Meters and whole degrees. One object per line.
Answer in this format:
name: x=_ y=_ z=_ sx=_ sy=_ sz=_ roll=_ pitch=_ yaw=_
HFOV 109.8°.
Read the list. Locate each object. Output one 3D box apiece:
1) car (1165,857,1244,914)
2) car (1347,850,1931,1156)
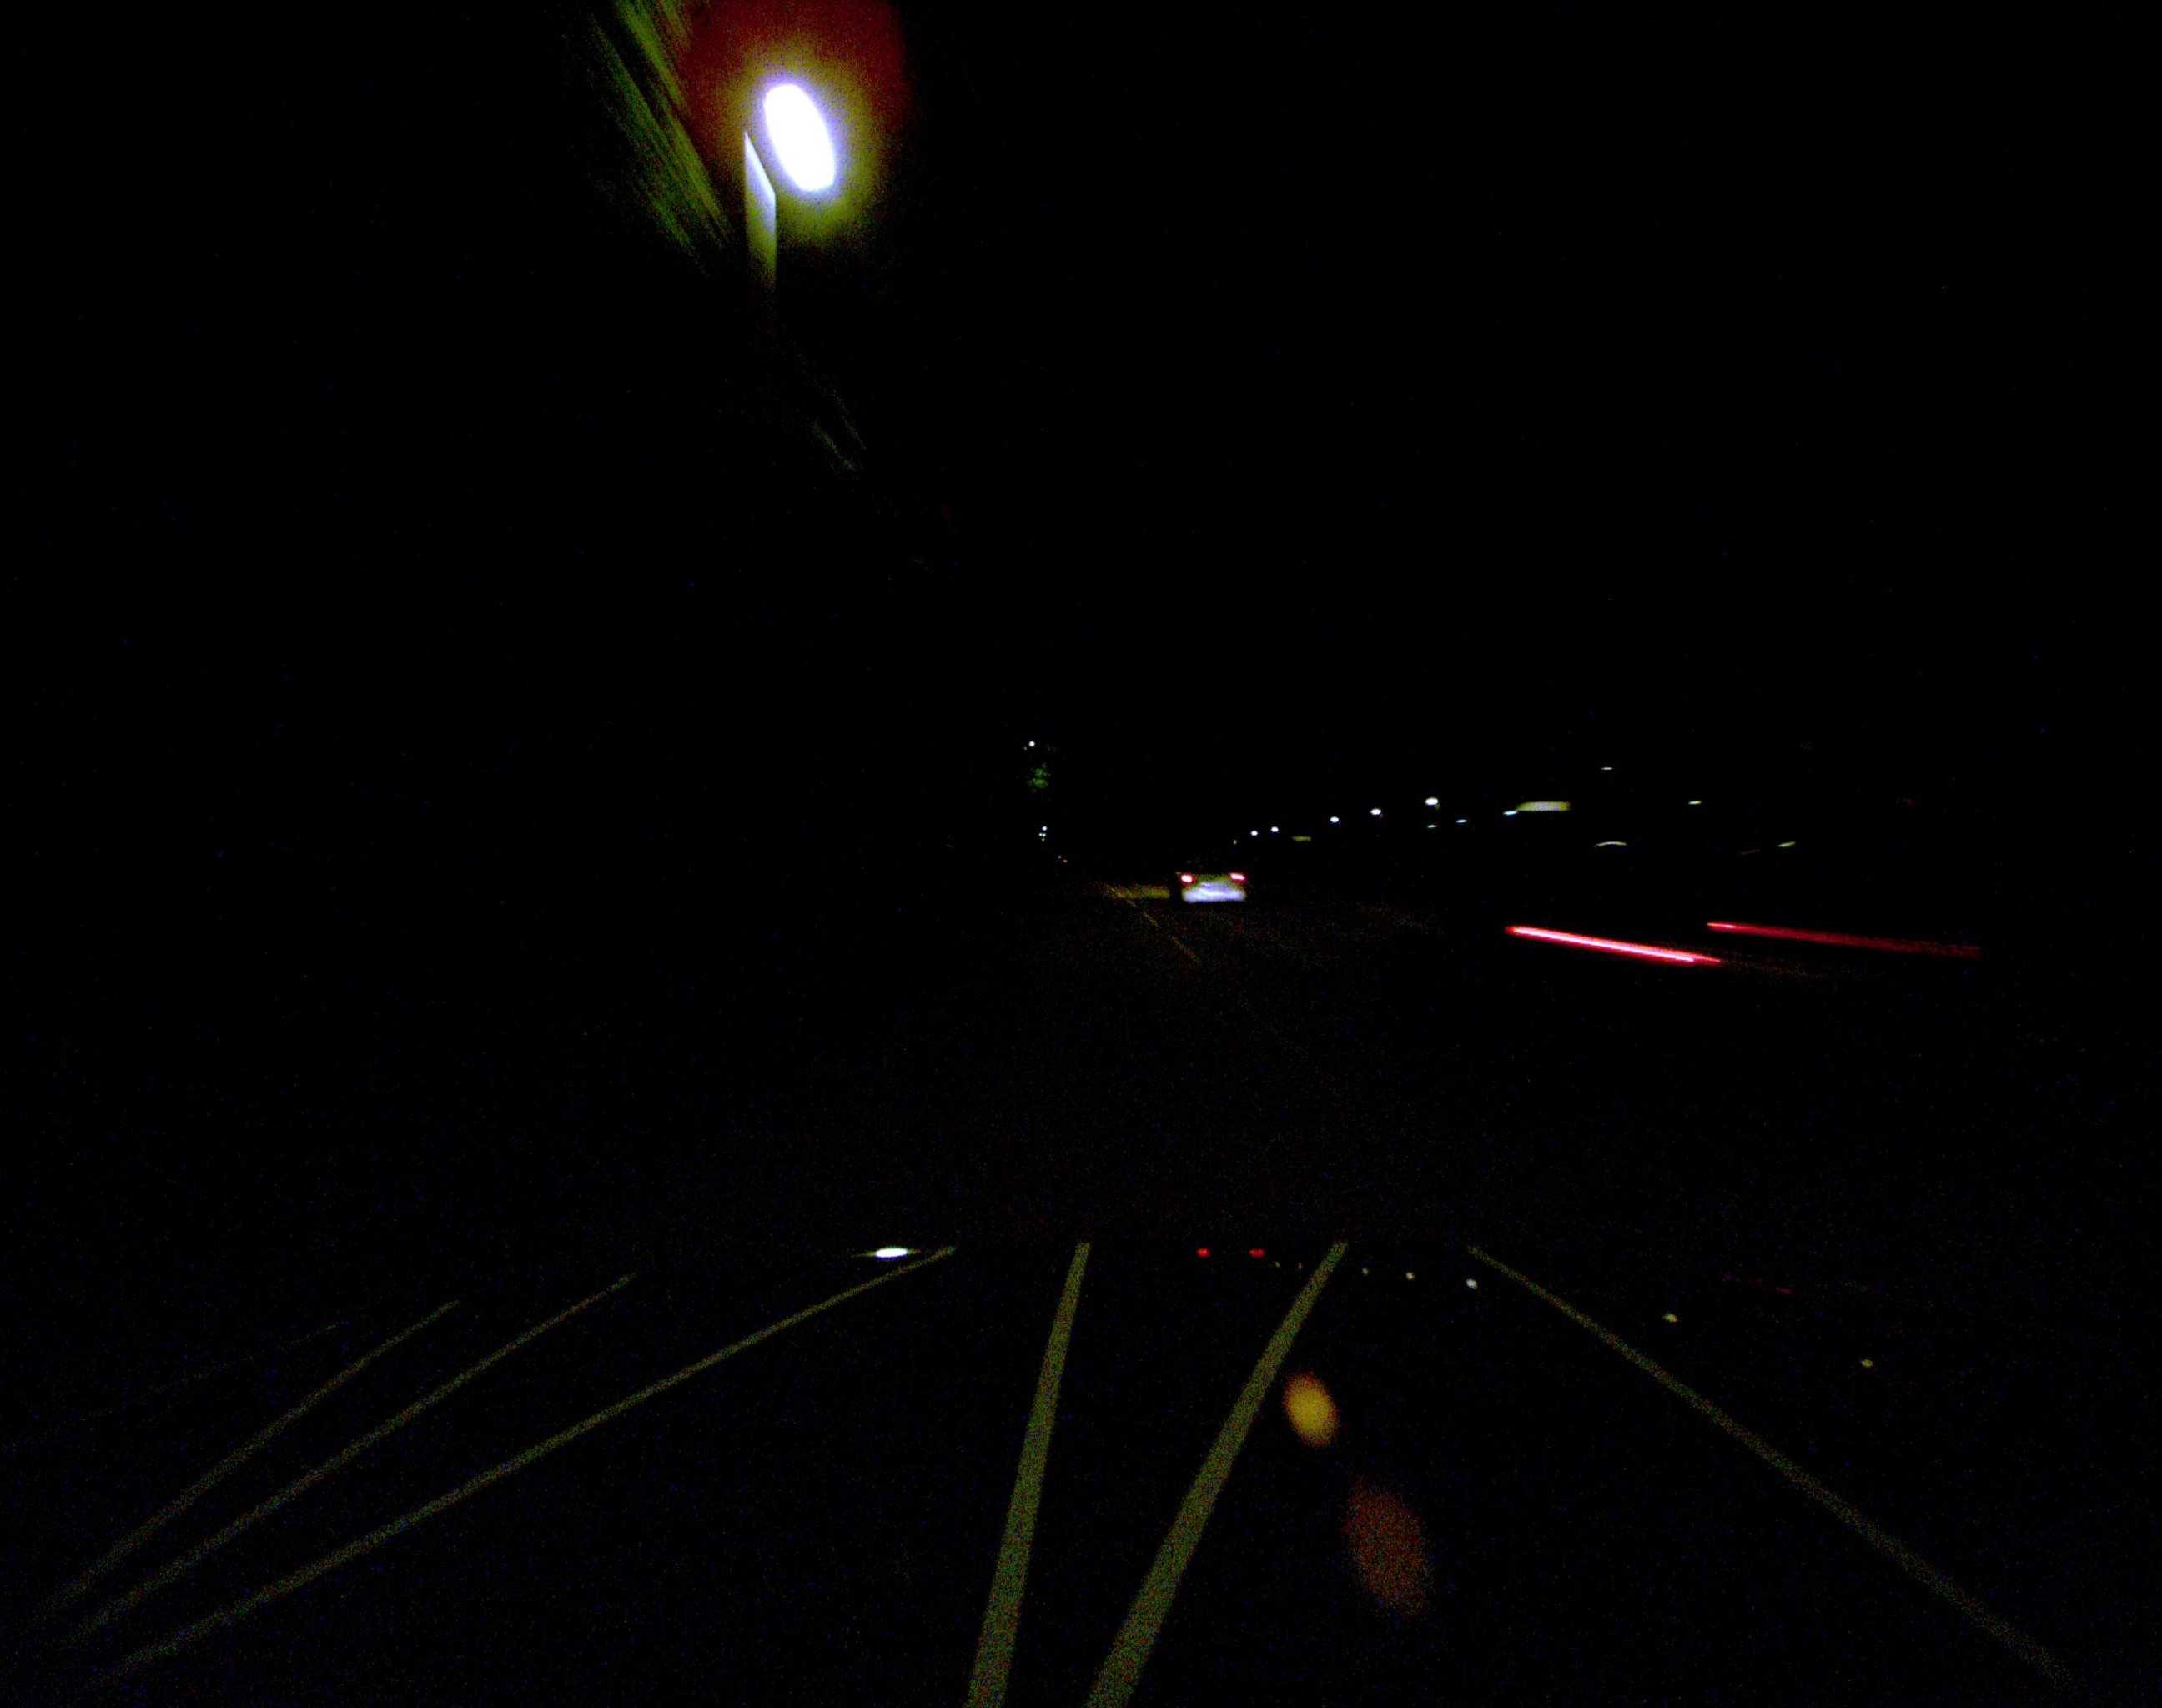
car: x=3.516 y=0.841 z=22.282 sx=1.691 sy=1.449 sz=4.000 roll=-2 pitch=0 yaw=1
car: x=3.401 y=0.742 z=5.558 sx=1.651 sy=1.483 sz=3.557 roll=-2 pitch=0 yaw=0
